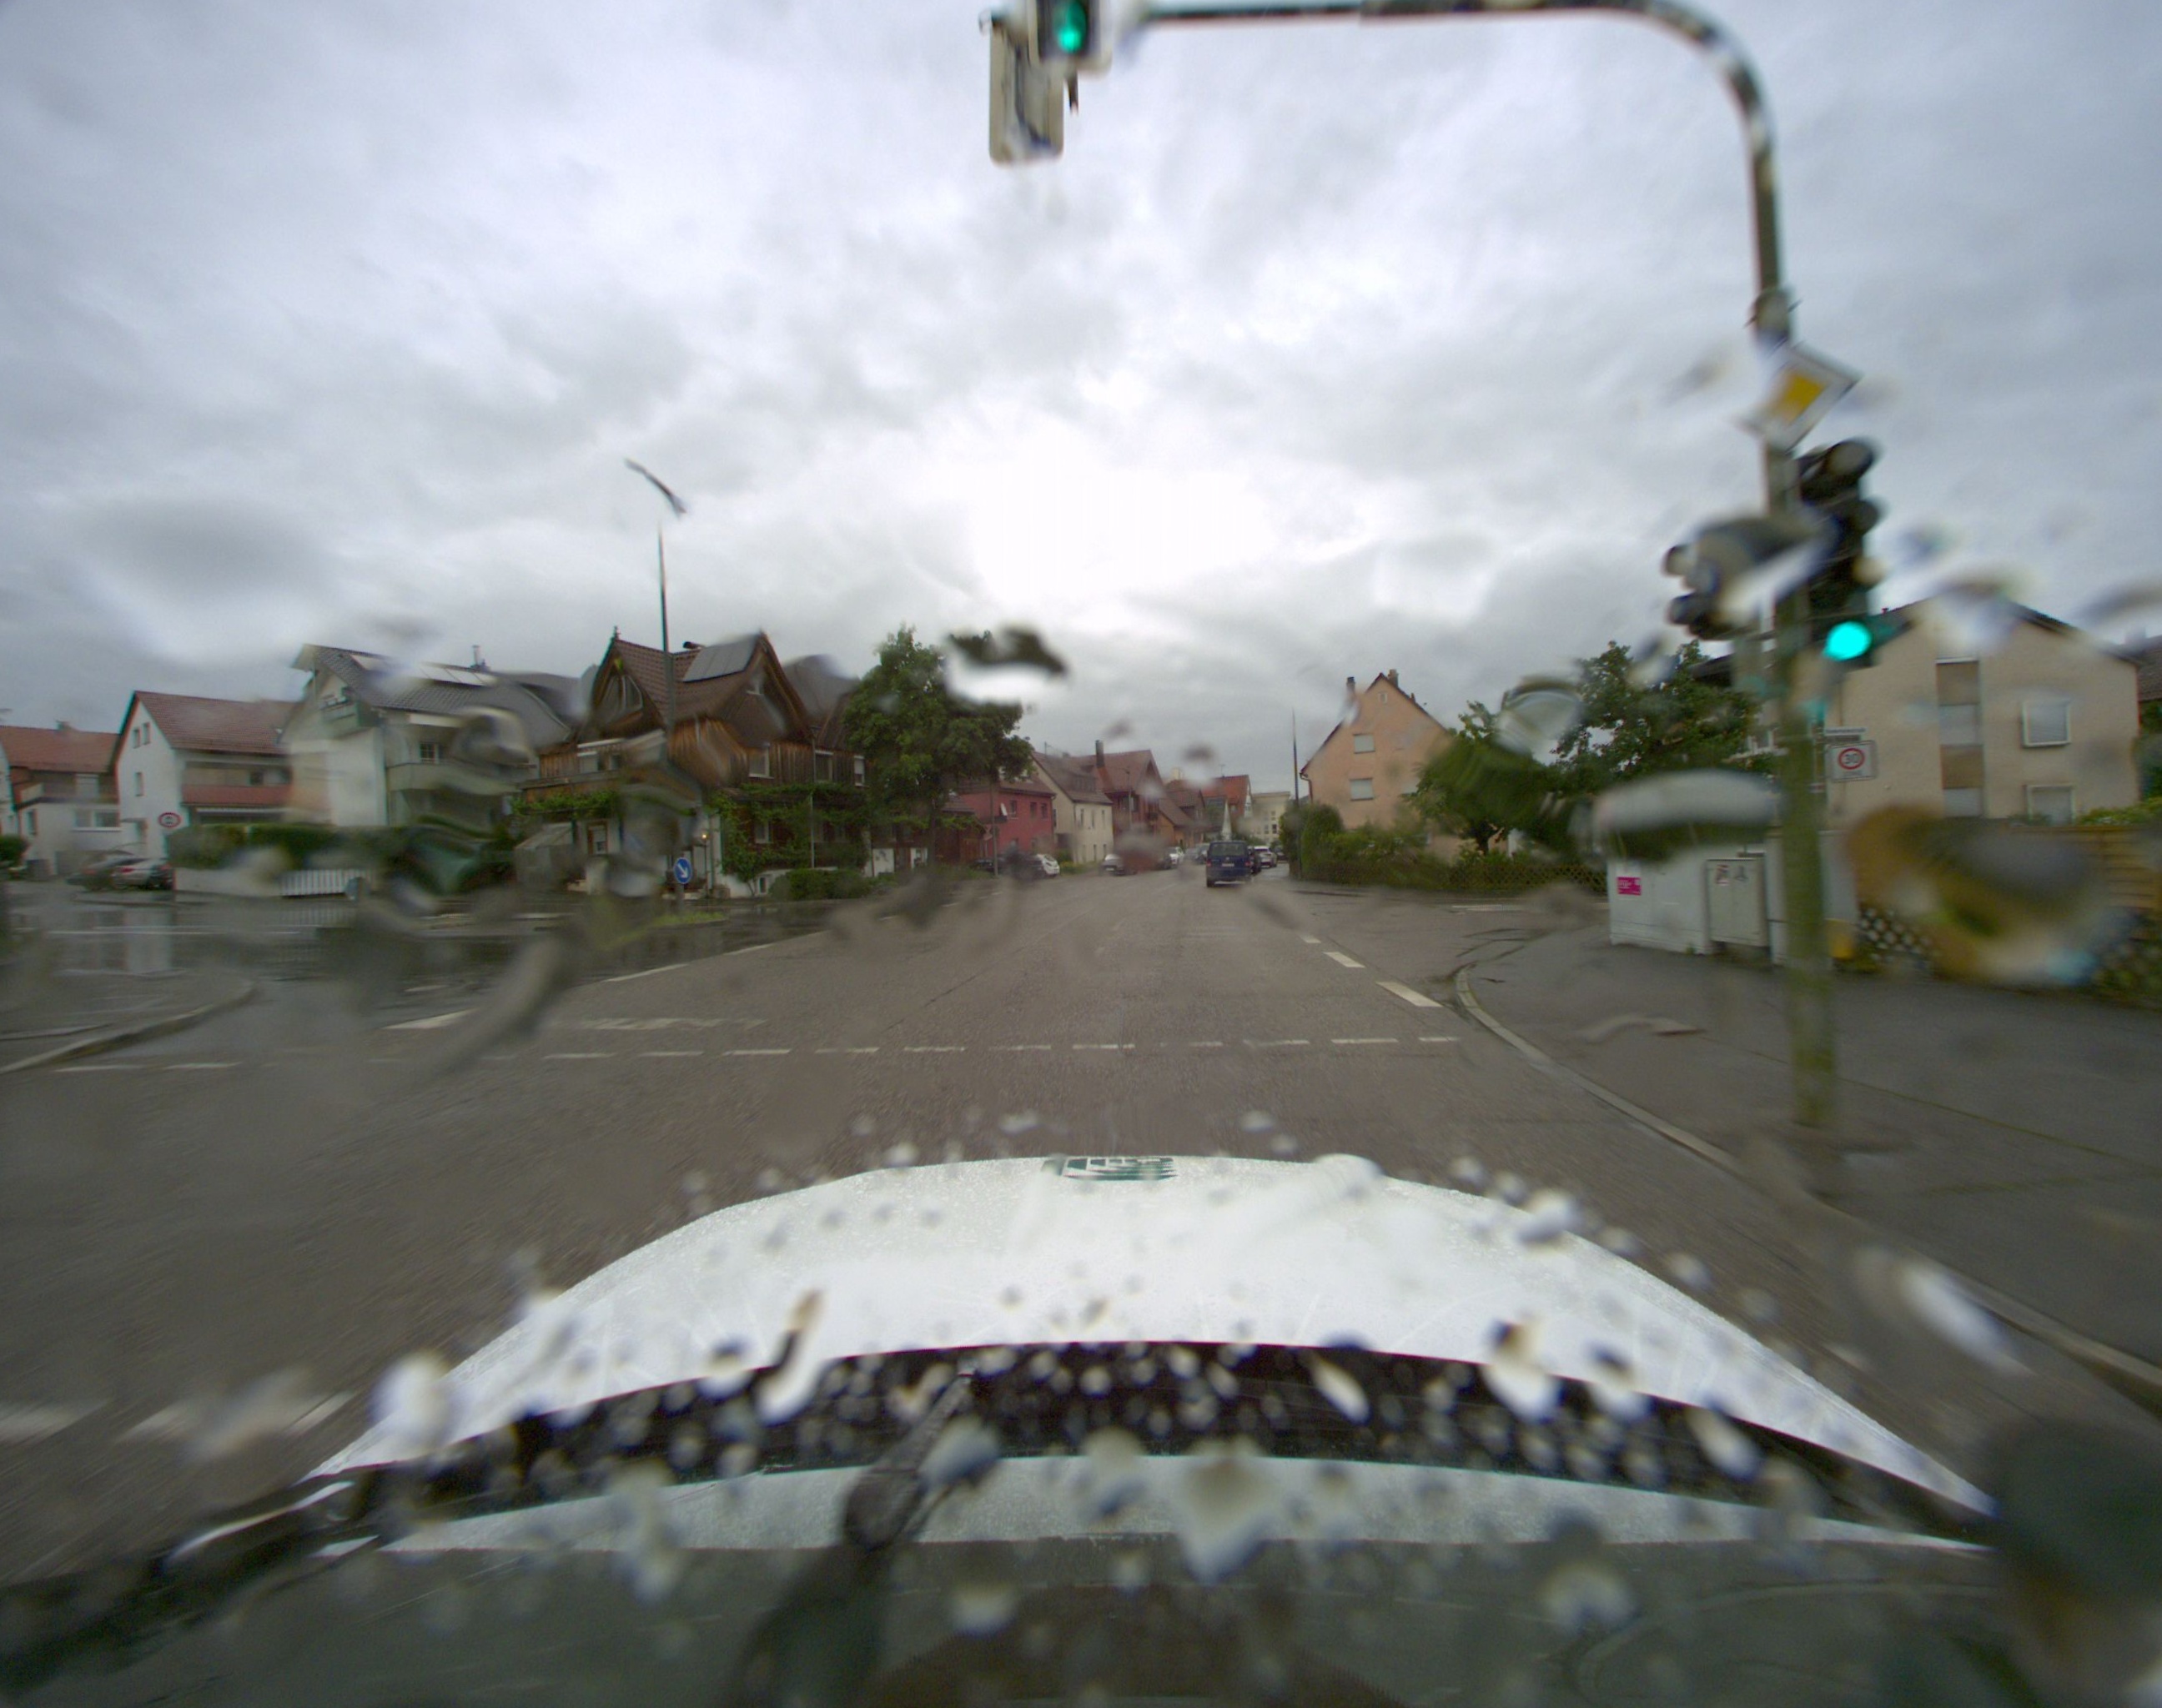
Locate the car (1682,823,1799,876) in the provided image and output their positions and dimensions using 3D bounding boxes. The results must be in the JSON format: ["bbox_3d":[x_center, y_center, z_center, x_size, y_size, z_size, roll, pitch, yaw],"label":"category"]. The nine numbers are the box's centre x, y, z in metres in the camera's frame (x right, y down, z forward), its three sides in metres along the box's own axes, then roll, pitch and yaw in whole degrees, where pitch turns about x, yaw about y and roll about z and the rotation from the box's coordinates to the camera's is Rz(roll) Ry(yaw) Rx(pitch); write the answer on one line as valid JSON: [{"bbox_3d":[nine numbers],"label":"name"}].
[{"bbox_3d":[24.165,-0.166,30.026,1.647,1.818,3.648,-1,0,7],"label":"car"}]

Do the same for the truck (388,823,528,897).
[{"bbox_3d":[-23.916,0.203,31.425,1.761,2.613,3.865,-3,0,20],"label":"truck"}]

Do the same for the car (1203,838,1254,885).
[{"bbox_3d":[6.365,0.294,35.666,1.920,1.902,4.803,-1,0,7],"label":"car"}]

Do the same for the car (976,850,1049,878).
[{"bbox_3d":[-3.795,0.522,45.108,3.544,1.506,1.865,0,1,22],"label":"car"}]

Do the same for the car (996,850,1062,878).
[{"bbox_3d":[-3.036,0.585,47.445,3.432,1.479,1.599,-3,0,20],"label":"car"}]

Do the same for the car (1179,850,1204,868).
[{"bbox_3d":[10.159,0.468,74.484,1.565,1.497,3.584,-3,0,19],"label":"car"}]

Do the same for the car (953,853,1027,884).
[{"bbox_3d":[-4.736,0.762,42.595,3.417,1.418,1.641,-3,0,20],"label":"car"}]

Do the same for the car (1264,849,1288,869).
[{"bbox_3d":[18.368,0.426,76.490,1.735,1.710,4.020,-3,0,19],"label":"car"}]

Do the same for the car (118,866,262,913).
[{"bbox_3d":[-39.120,1.532,35.835,1.974,1.813,4.026,-3,0,35],"label":"car"}]

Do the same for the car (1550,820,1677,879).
[{"bbox_3d":[20.720,-0.208,31.990,1.936,2.083,5.193,-1,1,5],"label":"car"}]

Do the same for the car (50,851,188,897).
[{"bbox_3d":[-45.095,0.890,38.265,1.974,2.013,4.026,-1,0,35],"label":"car"}]

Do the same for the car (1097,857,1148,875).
[{"bbox_3d":[3.711,1.051,73.029,4.134,1.403,1.799,-3,-1,25],"label":"car"}]

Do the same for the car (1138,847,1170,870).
[{"bbox_3d":[5.532,0.340,61.084,1.592,1.617,3.292,-3,0,19],"label":"car"}]

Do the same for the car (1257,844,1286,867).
[{"bbox_3d":[14.022,0.069,59.818,1.789,1.595,4.631,-1,0,16],"label":"car"}]

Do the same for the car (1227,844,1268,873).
[{"bbox_3d":[10.427,0.247,50.773,1.893,1.717,4.577,0,0,18],"label":"car"}]

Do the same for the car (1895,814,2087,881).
[{"bbox_3d":[27.378,-0.200,24.576,3.983,1.670,1.889,-4,0,-7],"label":"car"}]

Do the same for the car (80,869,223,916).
[{"bbox_3d":[-41.807,1.692,36.714,1.974,1.837,4.026,-3,0,35],"label":"car"}]

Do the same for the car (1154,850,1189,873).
[{"bbox_3d":[7.309,0.584,65.512,1.750,1.619,4.678,-3,0,18],"label":"car"}]

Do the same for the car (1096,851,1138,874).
[{"bbox_3d":[2.278,0.504,50.985,1.614,1.355,4.129,-1,0,17],"label":"car"}]
